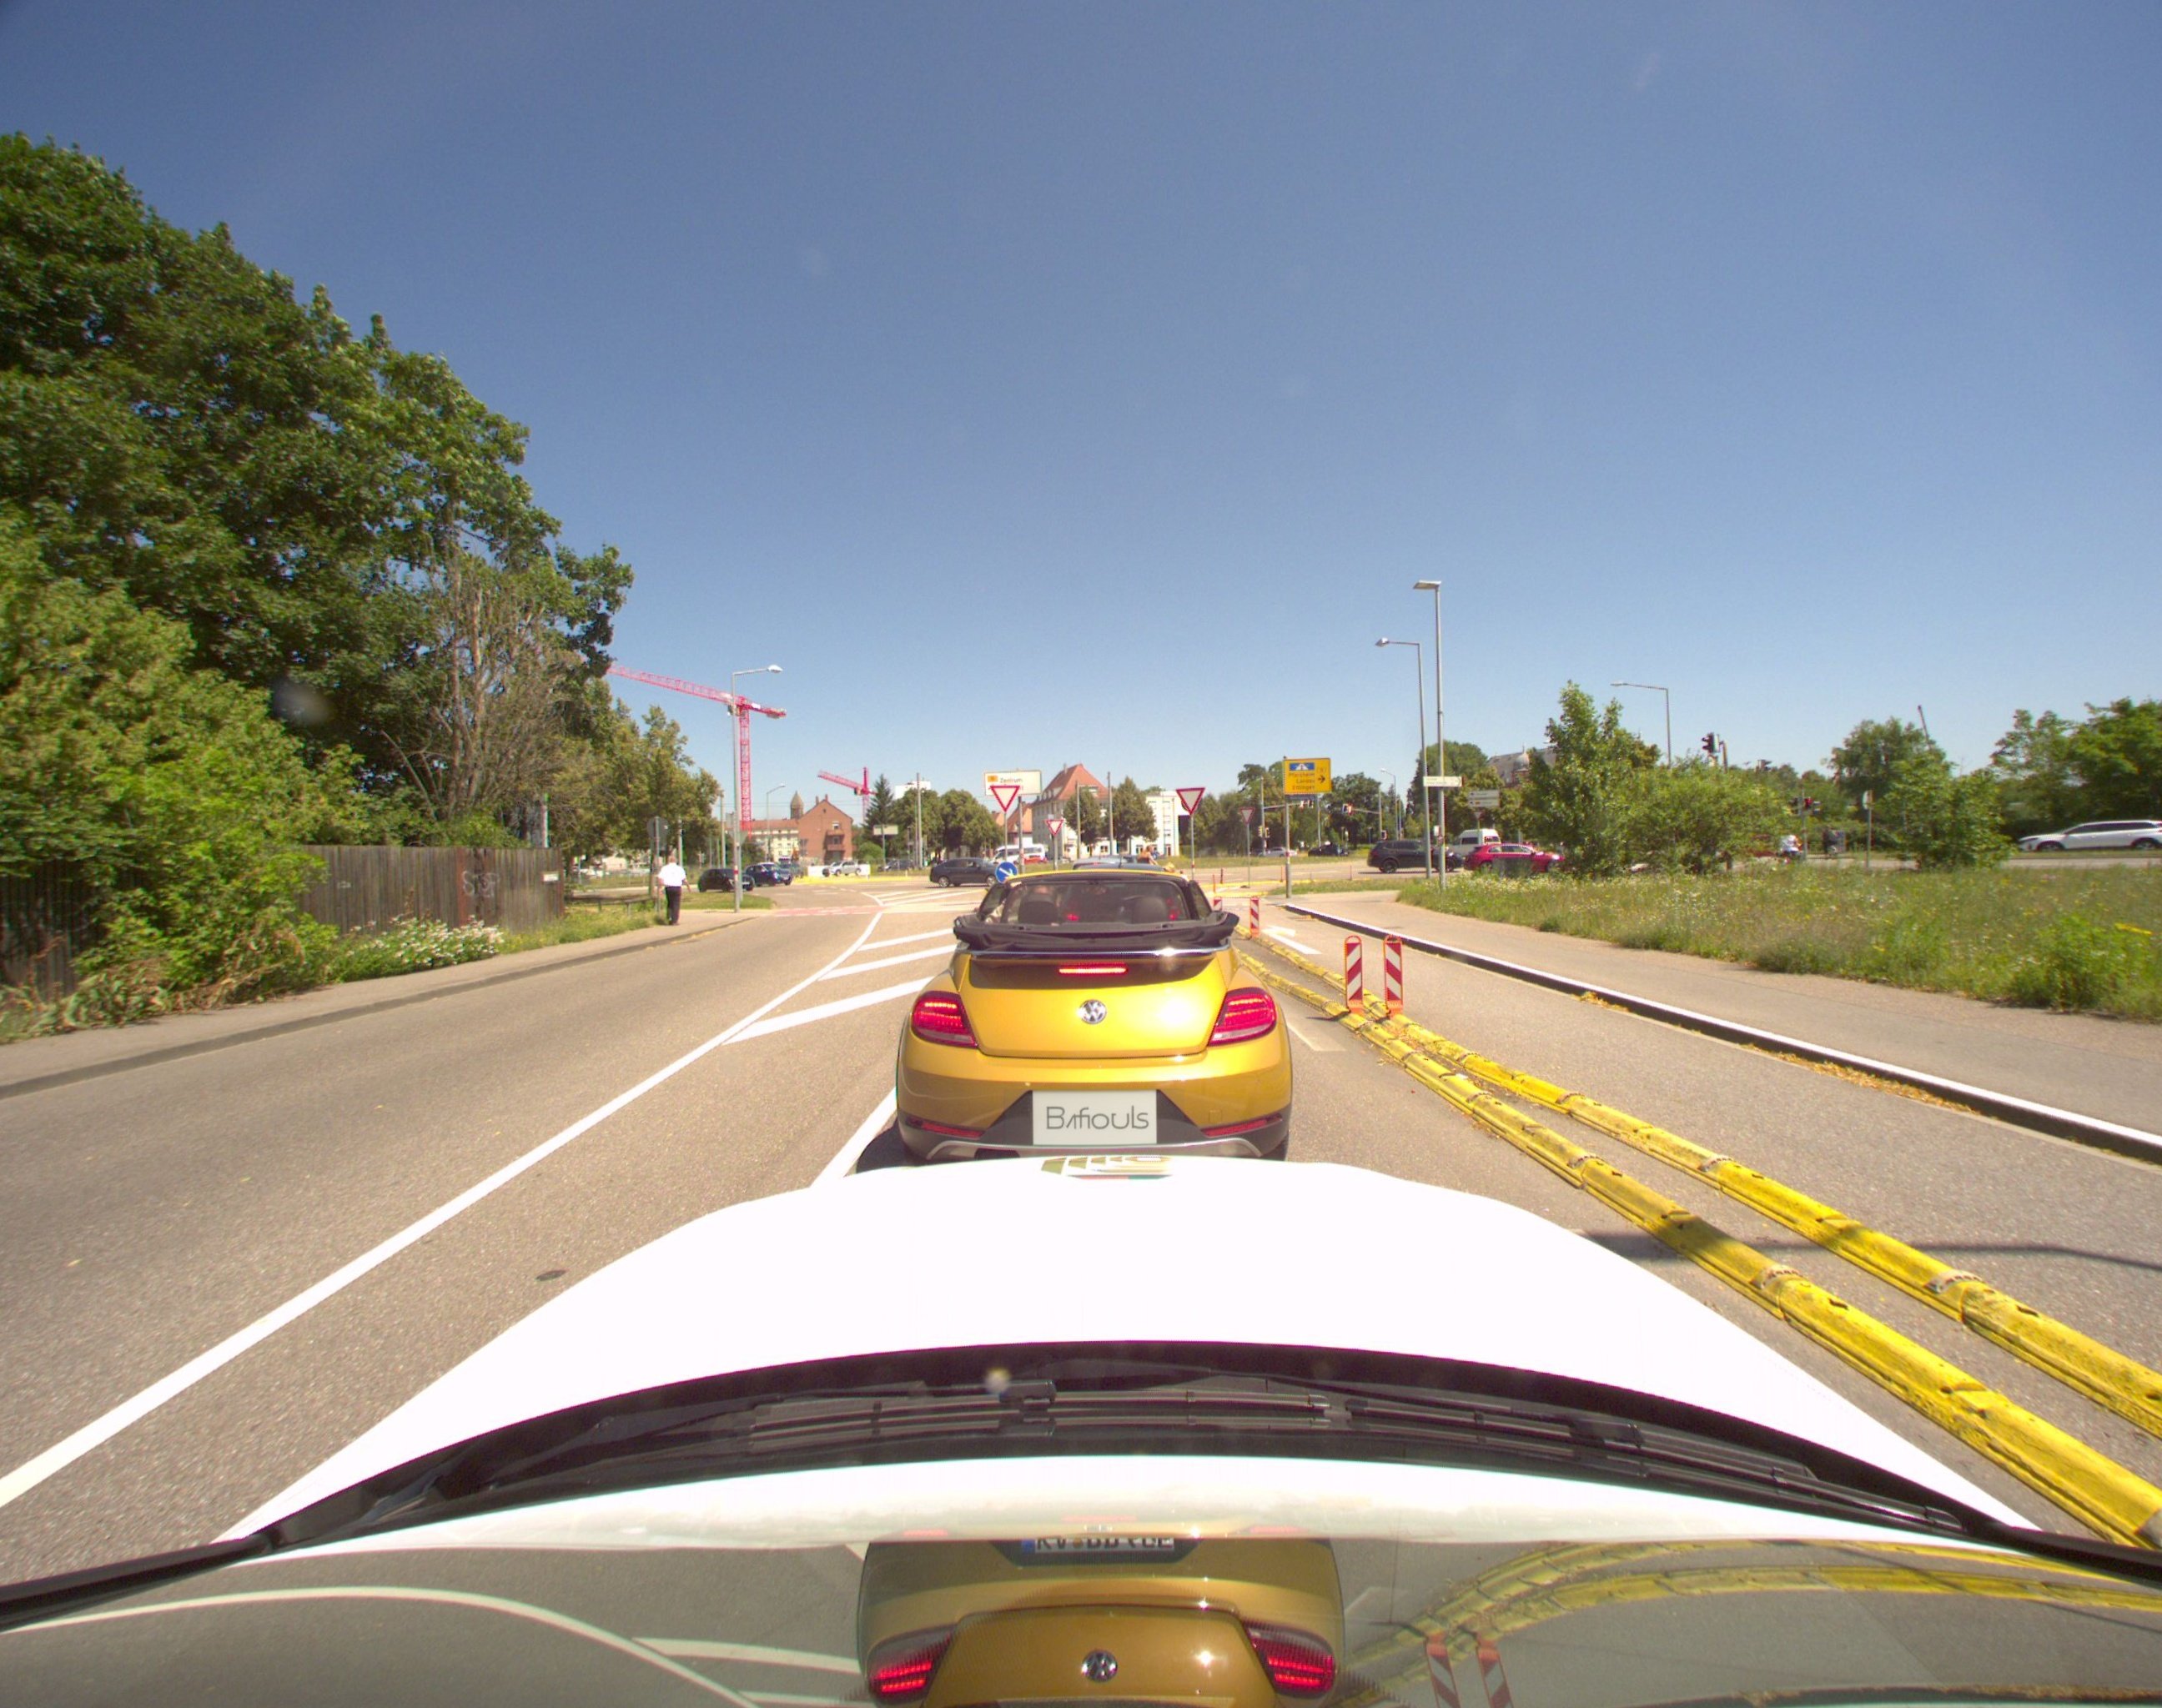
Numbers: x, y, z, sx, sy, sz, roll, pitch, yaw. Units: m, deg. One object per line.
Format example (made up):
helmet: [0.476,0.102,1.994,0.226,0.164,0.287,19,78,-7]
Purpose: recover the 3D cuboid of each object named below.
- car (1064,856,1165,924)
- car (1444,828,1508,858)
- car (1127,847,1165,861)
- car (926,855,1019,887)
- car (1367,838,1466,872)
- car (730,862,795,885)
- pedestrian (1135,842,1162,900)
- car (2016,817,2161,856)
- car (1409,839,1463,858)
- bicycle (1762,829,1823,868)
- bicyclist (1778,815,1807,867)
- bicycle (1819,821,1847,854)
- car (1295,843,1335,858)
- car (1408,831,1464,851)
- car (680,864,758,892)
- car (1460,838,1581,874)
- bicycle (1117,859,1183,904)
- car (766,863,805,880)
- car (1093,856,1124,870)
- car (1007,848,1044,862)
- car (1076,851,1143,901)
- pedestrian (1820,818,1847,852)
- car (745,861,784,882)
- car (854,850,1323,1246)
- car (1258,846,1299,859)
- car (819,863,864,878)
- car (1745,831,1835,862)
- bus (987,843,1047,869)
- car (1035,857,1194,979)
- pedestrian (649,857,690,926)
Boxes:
car: [0.748,0.748,18.722,2.057,1.382,4.259,0,0,2]
car: [32.861,-0.851,67.923,1.989,2.397,5.305,0,-1,-12]
car: [7.987,0.030,100.434,4.400,1.736,1.855,-1,-1,12]
car: [-5.469,0.853,41.244,4.296,1.552,1.735,-1,-1,15]
car: [17.118,0.055,41.777,4.376,1.595,2.007,-2,0,12]
car: [-21.531,1.311,55.062,3.954,1.552,1.736,-1,-1,19]
pedestrian: [2.015,0.494,24.158,0.728,1.691,0.577,-1,-1,11]
car: [48.443,-0.798,39.160,4.389,1.736,1.860,-1,-1,43]
car: [37.660,-0.572,86.500,1.997,1.962,5.285,0,-1,-25]
bicycle: [25.855,-0.196,29.574,2.902,1.353,0.635,0,-1,-27]
bicyclist: [25.757,-0.460,29.497,0.573,1.841,0.603,0,-1,-29]
bicycle: [38.001,-0.812,41.140,0.972,1.597,2.900,-1,-1,43]
car: [27.385,-0.376,95.426,1.891,1.614,4.281,0,-1,-38]
car: [37.544,-1.342,86.196,2.000,1.962,5.278,0,-1,-29]
car: [-21.331,1.402,48.052,3.957,1.552,1.735,-1,-1,15]
car: [19.517,0.095,36.343,4.376,1.527,2.006,-1,-1,11]
bicycle: [2.039,0.811,24.124,1.830,1.231,0.615,-3,-1,12]
car: [-25.207,1.496,69.601,1.740,1.371,4.332,0,0,1]
car: [3.552,1.102,105.024,3.969,1.772,1.788,0,-1,4]
car: [-6.812,0.129,99.522,4.427,1.736,1.843,0,-1,-8]
car: [0.959,0.680,27.809,2.057,1.481,4.545,-2,0,2]
pedestrian: [37.902,-0.941,41.031,0.959,1.660,0.892,-1,-1,44]
car: [-24.761,1.344,63.899,1.773,1.527,3.866,-2,0,-5]
car: [0.091,0.748,5.198,1.758,1.481,4.259,0,-1,2]
car: [22.694,-0.178,93.529,1.762,1.371,4.278,0,-1,-44]
car: [-23.262,1.561,79.284,1.711,1.402,4.297,-1,-1,29]
car: [43.503,-0.453,50.036,1.671,1.817,3.894,0,-1,-36]
bus: [-8.072,0.213,102.832,7.272,3.172,2.247,0,-1,-18]
car: [0.469,0.774,11.823,1.844,1.366,4.260,-2,0,2]
pedestrian: [-10.807,0.965,21.420,0.634,1.786,0.968,0,-1,-4]
